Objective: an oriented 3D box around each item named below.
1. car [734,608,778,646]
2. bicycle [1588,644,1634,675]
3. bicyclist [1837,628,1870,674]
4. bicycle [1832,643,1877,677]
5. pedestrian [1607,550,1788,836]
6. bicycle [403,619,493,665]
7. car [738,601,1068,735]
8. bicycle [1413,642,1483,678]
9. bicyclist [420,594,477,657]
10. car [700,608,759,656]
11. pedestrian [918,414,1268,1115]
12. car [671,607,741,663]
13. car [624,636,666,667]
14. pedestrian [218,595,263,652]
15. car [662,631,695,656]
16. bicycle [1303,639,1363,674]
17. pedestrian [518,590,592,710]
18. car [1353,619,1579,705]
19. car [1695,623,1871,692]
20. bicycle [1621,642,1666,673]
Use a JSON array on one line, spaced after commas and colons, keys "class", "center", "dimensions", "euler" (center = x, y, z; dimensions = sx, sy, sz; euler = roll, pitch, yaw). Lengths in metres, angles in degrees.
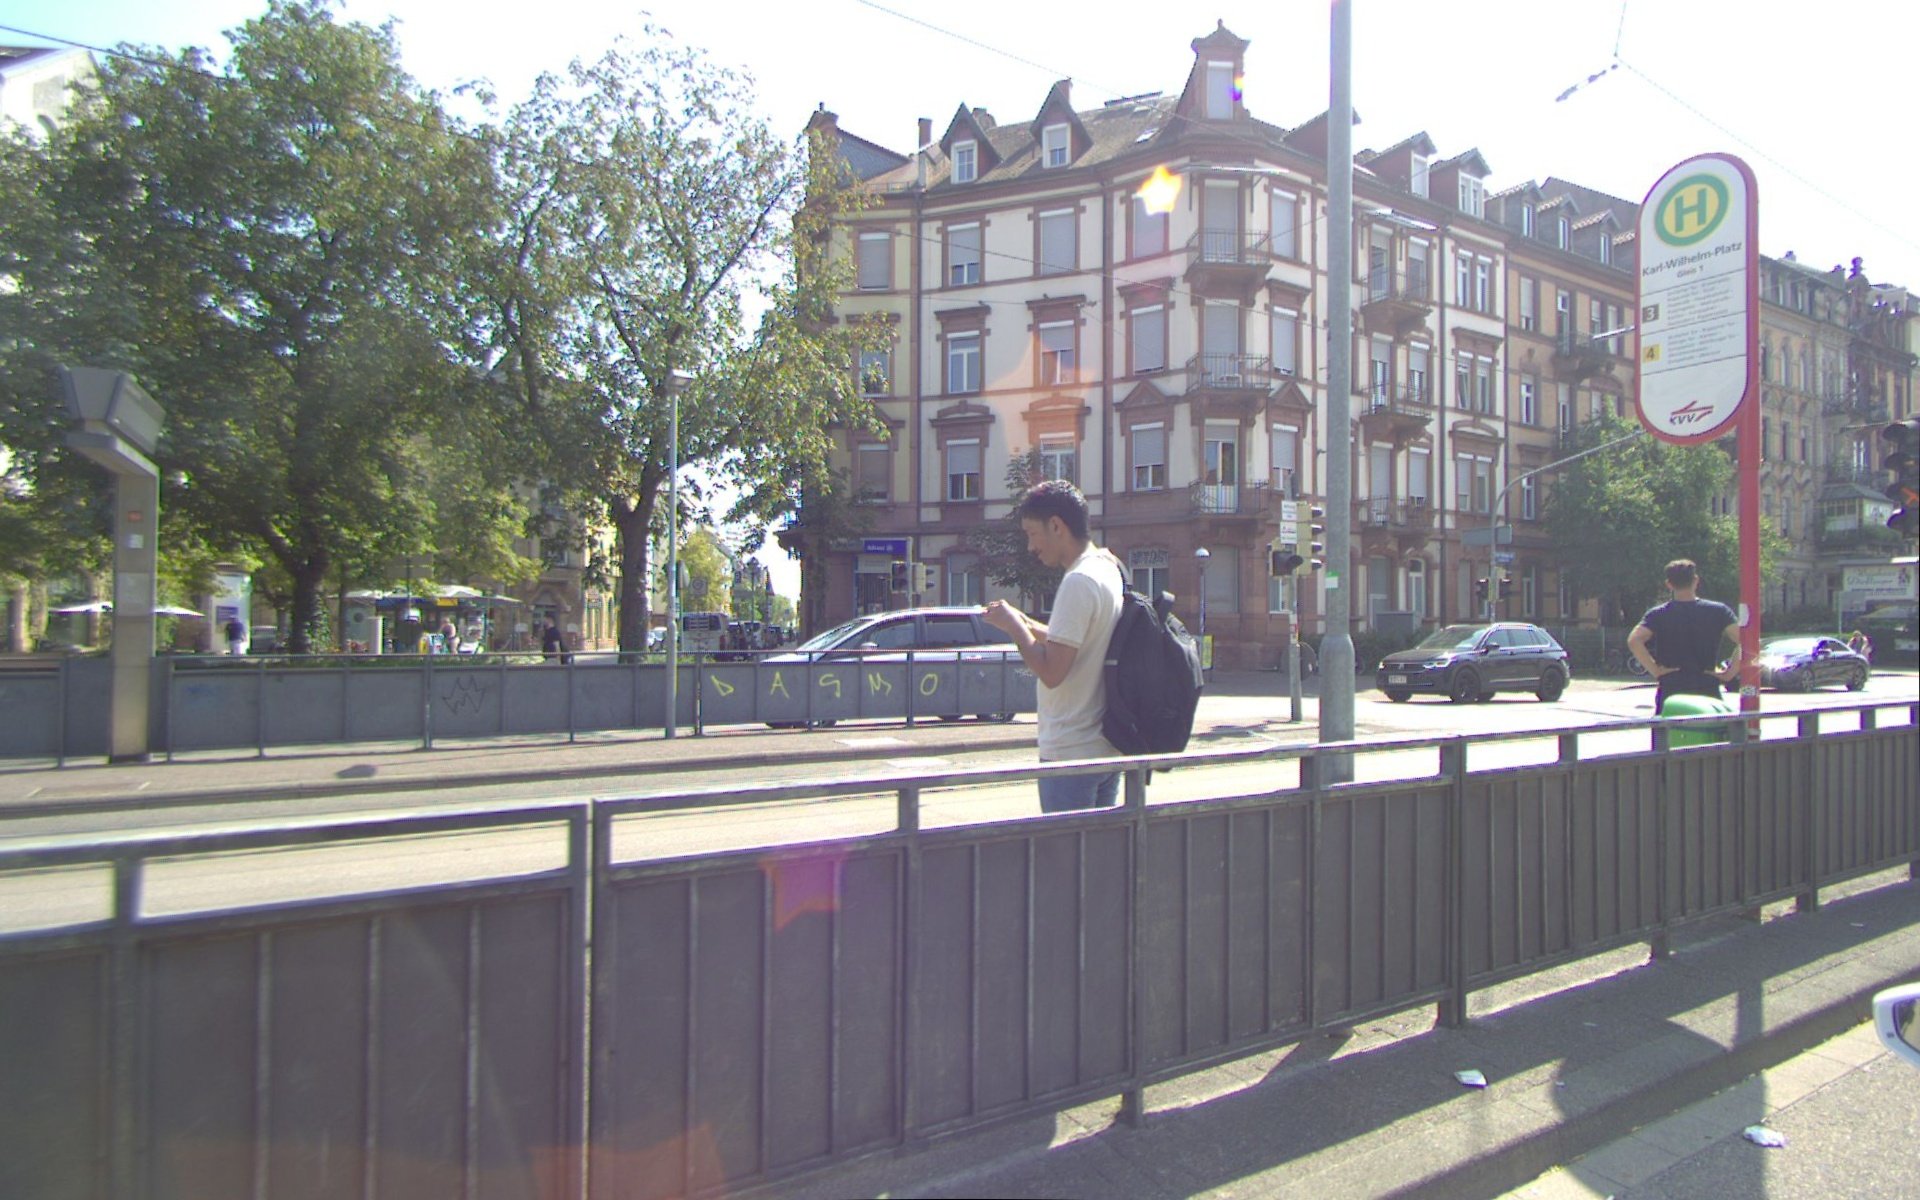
[{"class": "car", "center": [-11.576, 1.531, 57.361], "dimensions": [2.126, 2.040, 5.021], "euler": [1, -1, -8]}, {"class": "bicycle", "center": [20.866, 1.889, 32.188], "dimensions": [1.636, 0.954, 0.485], "euler": [1, -1, -28]}, {"class": "bicyclist", "center": [29.391, 1.662, 33.037], "dimensions": [0.767, 1.490, 0.578], "euler": [1, -1, -31]}, {"class": "bicycle", "center": [29.428, 1.961, 33.051], "dimensions": [1.822, 1.080, 0.578], "euler": [1, -2, -31]}, {"class": "pedestrian", "center": [5.245, 0.629, 7.207], "dimensions": [0.905, 1.910, 0.675], "euler": [0, -1, 24]}, {"class": "bicycle", "center": [-17.014, 1.383, 33.521], "dimensions": [1.199, 1.455, 3.486], "euler": [0, -2, 0]}, {"class": "car", "center": [-0.834, 0.974, 15.085], "dimensions": [4.570, 1.748, 1.987], "euler": [1, -3, -27]}, {"class": "bicycle", "center": [14.402, 1.758, 29.662], "dimensions": [1.793, 1.010, 0.489], "euler": [0, -1, 7]}, {"class": "bicyclist", "center": [-17.001, 0.854, 33.416], "dimensions": [1.186, 2.040, 1.212], "euler": [2, -2, -2]}, {"class": "car", "center": [-10.281, 1.421, 45.121], "dimensions": [2.126, 2.040, 5.021], "euler": [1, -1, -8]}, {"class": "pedestrian", "center": [0.423, 0.459, 3.264], "dimensions": [0.912, 1.910, 0.670], "euler": [1, -1, -29]}, {"class": "car", "center": [-9.925, 1.365, 39.633], "dimensions": [2.126, 2.040, 5.021], "euler": [1, -1, -8]}, {"class": "car", "center": [-22.250, 3.583, 71.155], "dimensions": [2.127, 2.040, 5.019], "euler": [1, -1, -10]}, {"class": "pedestrian", "center": [-26.139, 0.844, 36.524], "dimensions": [1.080, 2.040, 1.030], "euler": [2, 0, -25]}, {"class": "car", "center": [-24.149, 3.710, 86.265], "dimensions": [2.127, 2.040, 5.019], "euler": [1, -1, -10]}, {"class": "bicycle", "center": [11.180, 1.676, 30.110], "dimensions": [1.645, 1.010, 0.395], "euler": [0, -1, 7]}, {"class": "pedestrian", "center": [-7.168, 0.862, 17.777], "dimensions": [1.024, 2.040, 1.086], "euler": [2, 0, -30]}, {"class": "car", "center": [10.781, 1.276, 21.372], "dimensions": [4.572, 1.669, 1.986], "euler": [1, -3, -27]}, {"class": "car", "center": [21.543, 1.463, 26.267], "dimensions": [4.574, 1.669, 1.985], "euler": [1, -3, -29]}, {"class": "bicycle", "center": [22.403, 1.875, 32.918], "dimensions": [1.636, 0.999, 0.485], "euler": [1, -1, -28]}]
